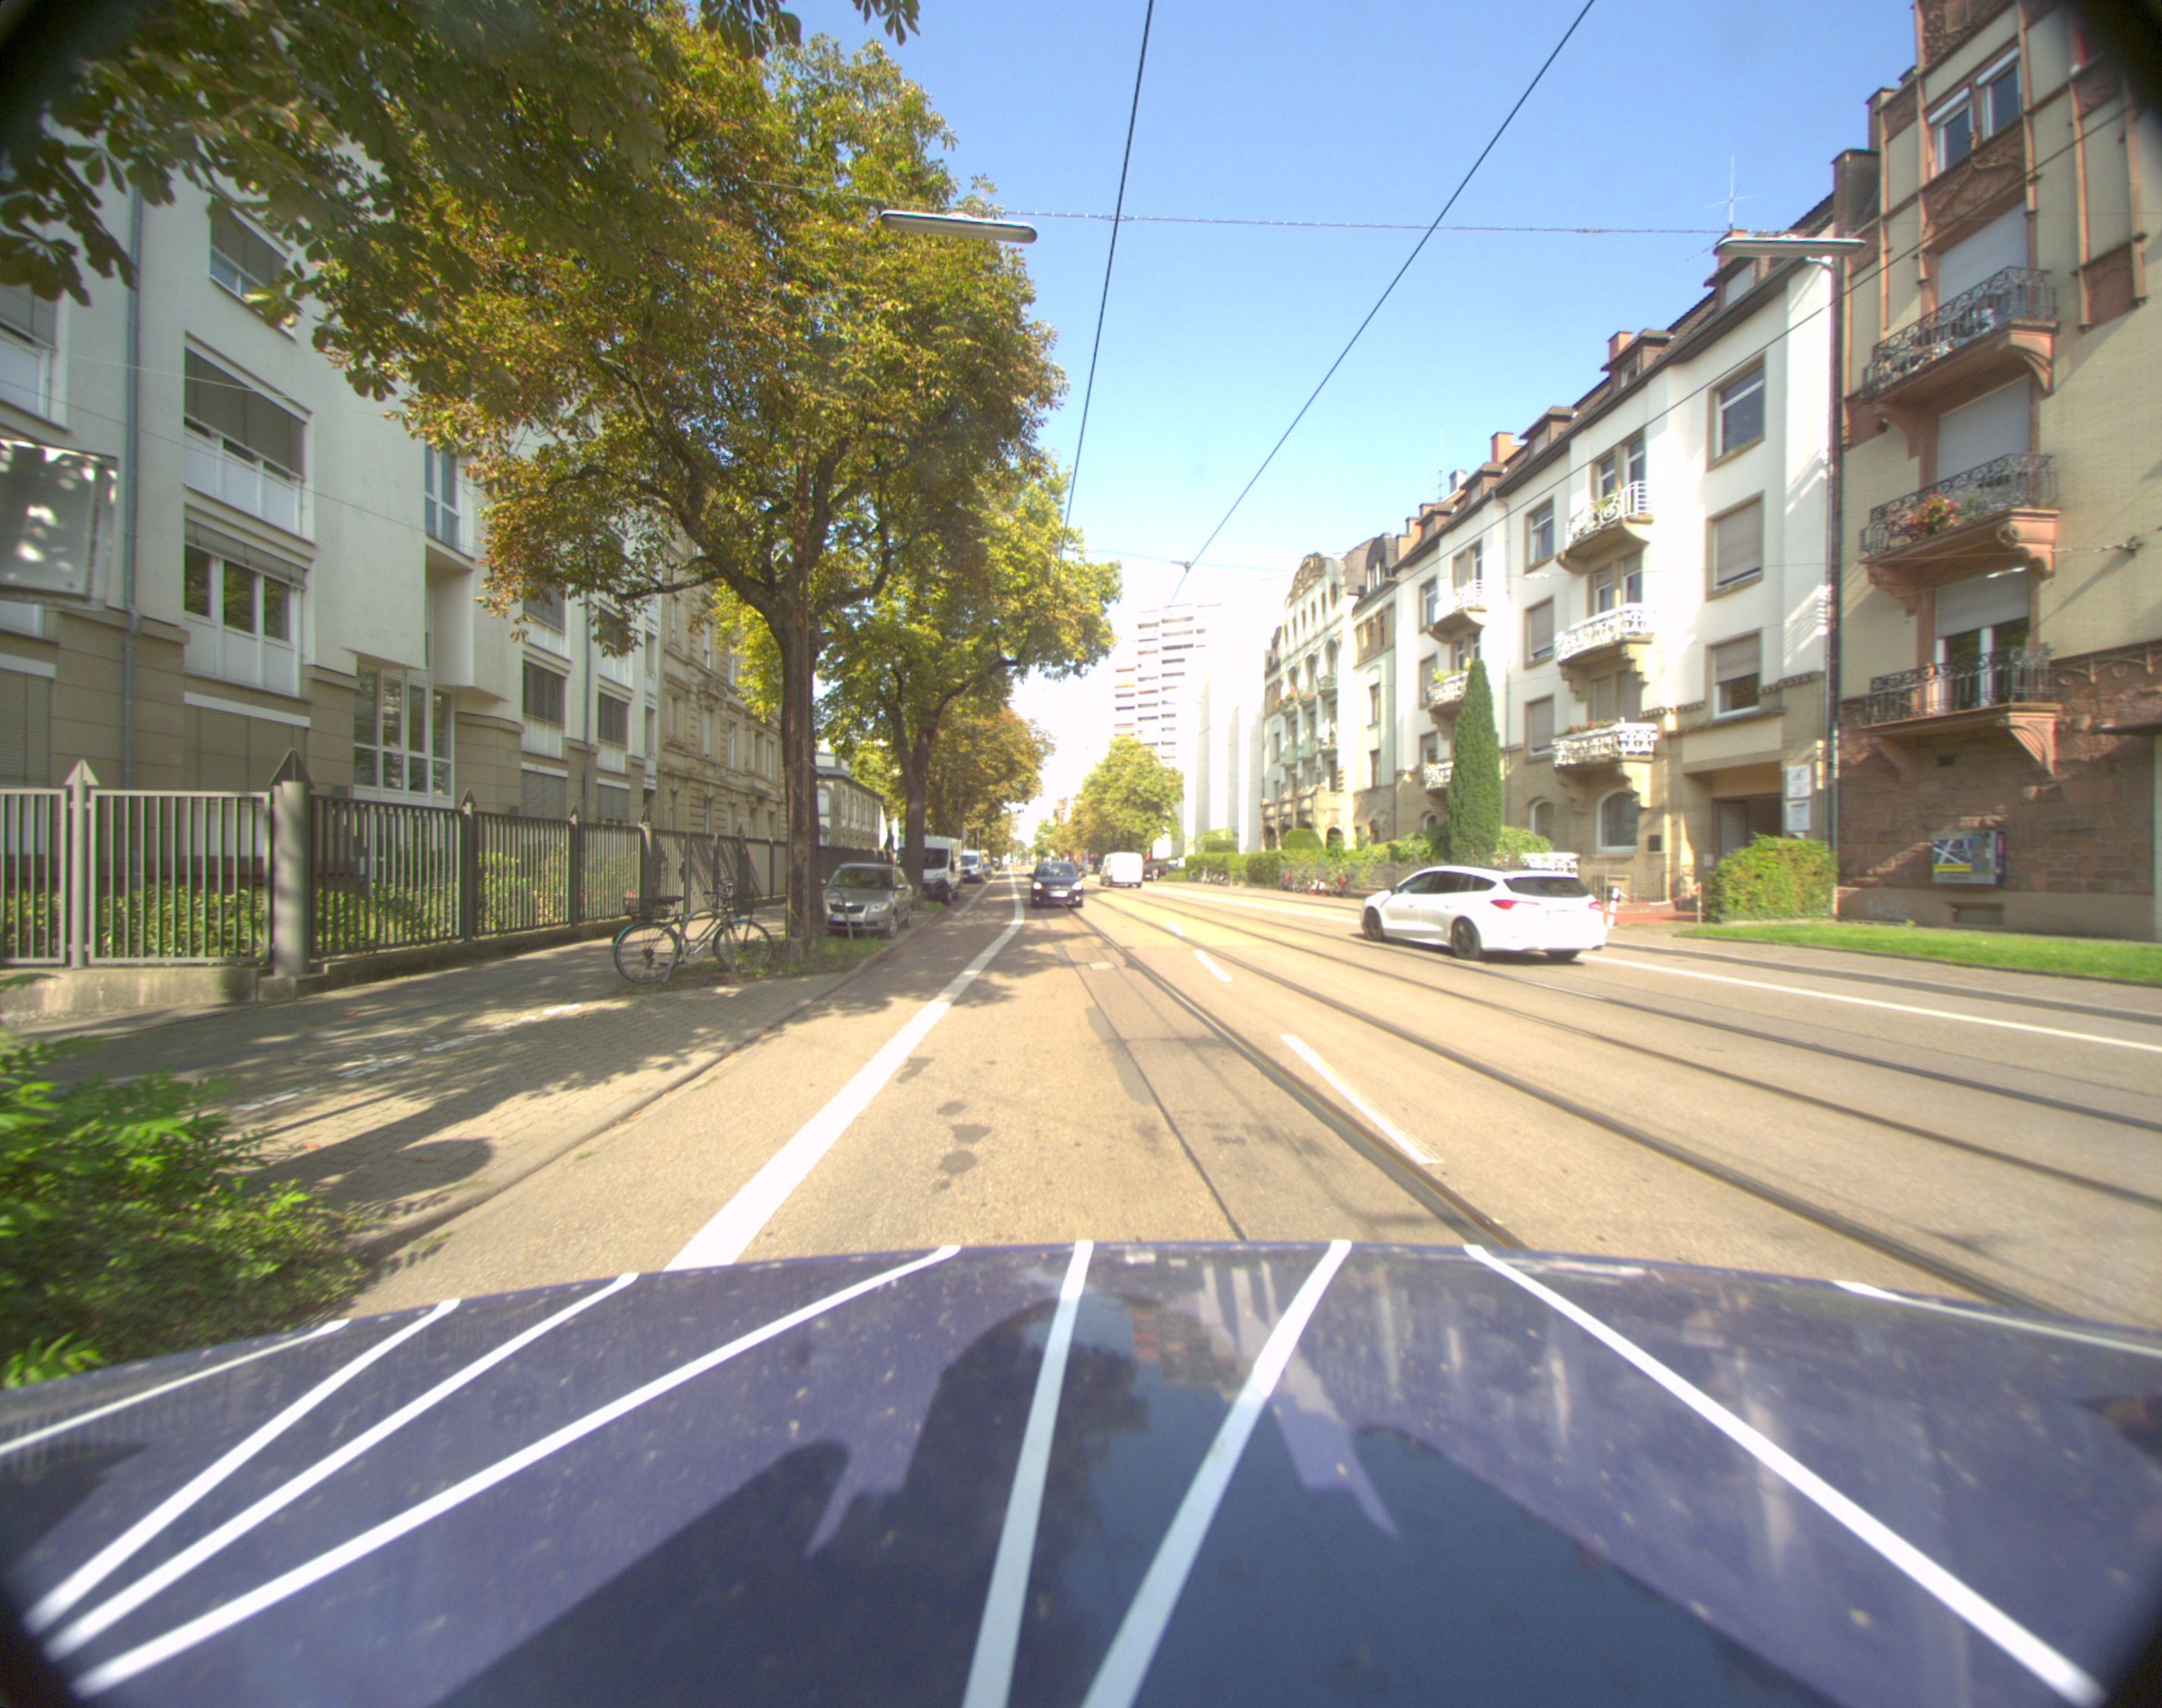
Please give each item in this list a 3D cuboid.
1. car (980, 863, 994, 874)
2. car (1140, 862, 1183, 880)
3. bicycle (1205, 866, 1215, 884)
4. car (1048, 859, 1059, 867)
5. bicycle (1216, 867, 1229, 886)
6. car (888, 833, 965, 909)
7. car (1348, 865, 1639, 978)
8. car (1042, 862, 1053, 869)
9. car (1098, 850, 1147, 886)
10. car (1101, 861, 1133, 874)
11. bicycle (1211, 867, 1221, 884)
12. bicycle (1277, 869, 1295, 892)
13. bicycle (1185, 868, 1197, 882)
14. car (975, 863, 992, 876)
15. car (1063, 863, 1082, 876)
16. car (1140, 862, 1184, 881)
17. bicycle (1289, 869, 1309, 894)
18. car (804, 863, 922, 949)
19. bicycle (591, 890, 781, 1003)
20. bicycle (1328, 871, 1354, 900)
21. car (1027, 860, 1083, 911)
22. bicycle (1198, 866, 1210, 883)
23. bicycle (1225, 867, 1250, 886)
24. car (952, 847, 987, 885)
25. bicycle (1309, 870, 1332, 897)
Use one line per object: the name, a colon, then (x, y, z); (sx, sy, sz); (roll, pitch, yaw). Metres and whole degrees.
car: (-11.942, 1.788, 96.941); (1.758, 1.349, 3.786); (0, 0, -6)
car: (7.064, 1.433, 66.334); (1.767, 1.518, 4.009); (0, 0, 41)
bicycle: (8.231, 1.338, 48.466); (0.425, 1.081, 1.677); (0, 0, 4)
car: (-4.700, 1.541, 128.596); (1.758, 1.349, 3.787); (0, 0, -4)
bicycle: (8.488, 1.342, 45.572); (0.425, 1.081, 1.676); (0, 0, -1)
car: (-5.597, 0.582, 28.336); (2.052, 2.483, 6.226); (1, 0, -5)
car: (6.460, 0.970, 12.647); (1.878, 1.446, 4.542); (3, -1, -8)
car: (-6.392, 2.163, 144.675); (1.758, 1.349, 3.786); (0, 0, -6)
car: (2.428, 0.809, 45.487); (2.000, 2.002, 4.856); (0, 0, -8)
car: (4.162, 1.544, 88.167); (1.767, 1.518, 4.009); (0, 0, 36)
bicycle: (8.453, 1.344, 47.673); (0.425, 1.081, 1.677); (0, 0, 4)
bicycle: (9.606, 1.234, 35.622); (0.371, 1.081, 1.354); (0, 0, -6)
bicycle: (7.764, 1.469, 53.787); (0.426, 0.972, 1.769); (0, 0, -6)
car: (-10.652, 1.668, 83.412); (1.758, 1.349, 3.786); (0, 0, -6)
car: (-1.009, 1.782, 88.930); (1.702, 1.394, 4.643); (-1, 0, -6)
car: (6.703, 1.440, 62.500); (1.767, 1.518, 4.009); (0, 0, 36)
bicycle: (9.712, 1.211, 33.854); (0.371, 1.081, 1.354); (0, 0, -6)
car: (-4.598, 1.022, 16.644); (1.611, 1.515, 4.355); (3, -1, -5)
bicycle: (-4.587, 1.033, 8.929); (1.847, 1.160, 0.503); (3, 4, -45)
bicycle: (10.030, 1.189, 29.333); (0.371, 1.081, 1.487); (0, 0, -6)
car: (-0.958, 0.964, 25.442); (1.611, 1.515, 4.355); (-1, 0, -5)
bicycle: (8.176, 1.351, 50.479); (0.425, 1.081, 1.676); (0, 0, -3)
bicycle: (9.195, 1.307, 44.626); (1.398, 1.081, 0.425); (0, 0, -23)
car: (-8.033, 0.853, 55.194); (1.999, 2.526, 5.865); (2, -1, -4)
bicycle: (9.786, 1.195, 31.092); (0.371, 1.081, 1.354); (0, 0, -6)
